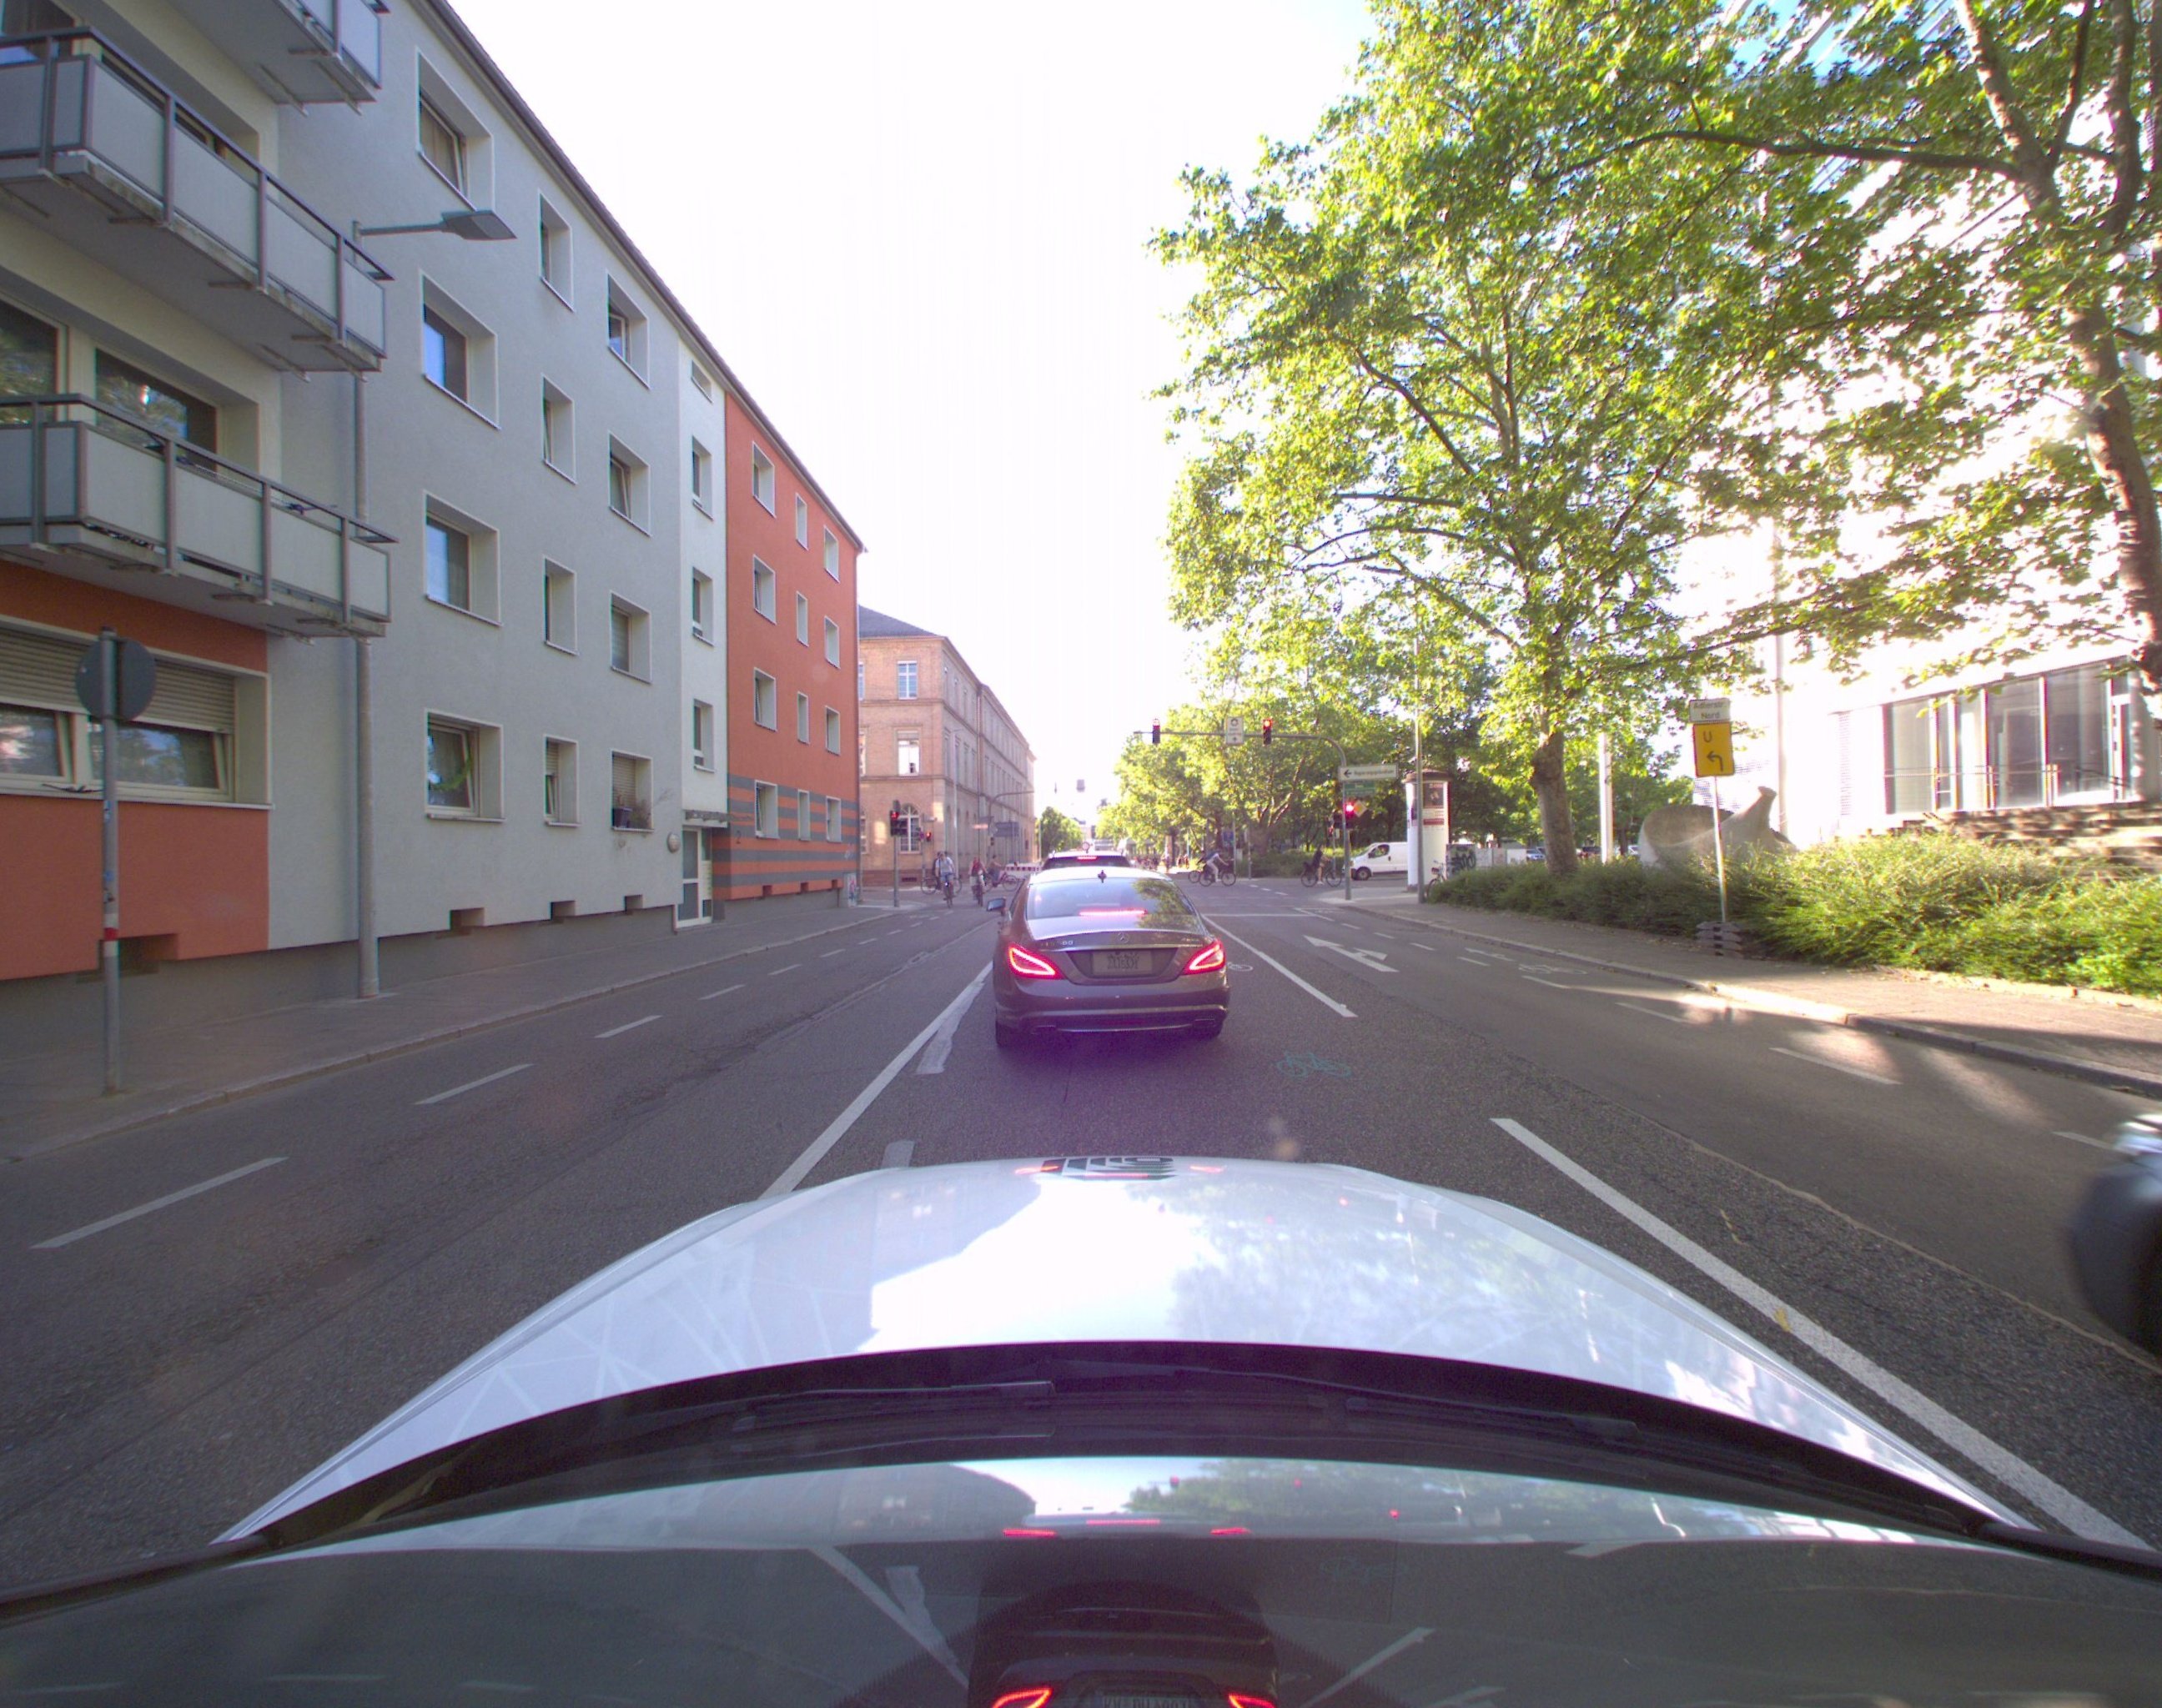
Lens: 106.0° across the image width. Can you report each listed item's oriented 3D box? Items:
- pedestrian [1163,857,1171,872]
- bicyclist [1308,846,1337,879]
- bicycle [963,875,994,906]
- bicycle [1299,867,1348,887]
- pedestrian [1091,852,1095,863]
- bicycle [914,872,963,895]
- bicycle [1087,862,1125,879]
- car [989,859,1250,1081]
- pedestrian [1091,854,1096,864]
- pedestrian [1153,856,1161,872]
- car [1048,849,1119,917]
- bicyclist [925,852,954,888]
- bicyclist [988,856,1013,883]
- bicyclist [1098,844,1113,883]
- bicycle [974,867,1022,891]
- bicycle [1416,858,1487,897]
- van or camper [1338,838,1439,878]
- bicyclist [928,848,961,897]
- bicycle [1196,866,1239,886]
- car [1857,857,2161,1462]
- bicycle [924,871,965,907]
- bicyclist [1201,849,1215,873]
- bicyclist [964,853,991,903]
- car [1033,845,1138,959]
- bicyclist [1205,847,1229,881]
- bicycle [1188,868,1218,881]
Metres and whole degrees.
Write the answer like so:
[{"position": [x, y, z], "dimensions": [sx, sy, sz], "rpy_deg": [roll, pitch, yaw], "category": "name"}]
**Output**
[{"position": [8.203, 1.022, 77.600], "dimensions": [0.646, 1.433, 0.659], "rpy_deg": [-1, 0, 1], "category": "pedestrian"}, {"position": [10.628, 0.372, 35.852], "dimensions": [1.098, 1.403, 0.658], "rpy_deg": [-1, 0, 4], "category": "bicyclist"}, {"position": [-3.378, 1.187, 26.981], "dimensions": [0.690, 0.929, 1.865], "rpy_deg": [-1, 0, 3], "category": "bicycle"}, {"position": [10.662, 0.996, 35.846], "dimensions": [1.965, 0.836, 0.677], "rpy_deg": [-1, 0, 4], "category": "bicycle"}, {"position": [2.040, 0.645, 138.991], "dimensions": [0.718, 1.902, 0.704], "rpy_deg": [-1, 0, 1], "category": "pedestrian"}, {"position": [-6.120, 1.259, 35.029], "dimensions": [1.979, 0.903, 0.734], "rpy_deg": [-1, 0, 1], "category": "bicycle"}, {"position": [1.285, 0.857, 42.144], "dimensions": [1.889, 0.837, 0.457], "rpy_deg": [-1, 0, -6], "category": "bicycle"}, {"position": [0.088, 0.805, 7.790], "dimensions": [1.801, 1.456, 4.342], "rpy_deg": [-1, 0, -5], "category": "car"}, {"position": [2.076, 0.808, 132.095], "dimensions": [0.799, 1.576, 0.845], "rpy_deg": [-1, 0, 1], "category": "pedestrian"}, {"position": [7.264, 0.982, 77.951], "dimensions": [0.646, 1.503, 0.637], "rpy_deg": [-1, 0, 1], "category": "pedestrian"}, {"position": [0.127, 0.763, 23.380], "dimensions": [1.813, 1.762, 4.002], "rpy_deg": [-1, 0, 2], "category": "car"}, {"position": [-6.083, 0.690, 35.057], "dimensions": [1.113, 1.490, 0.712], "rpy_deg": [-1, 0, 1], "category": "bicyclist"}, {"position": [-3.574, 0.673, 35.989], "dimensions": [0.987, 1.154, 0.621], "rpy_deg": [-1, 0, 4], "category": "bicyclist"}, {"position": [1.267, 0.497, 42.137], "dimensions": [0.651, 2.013, 0.439], "rpy_deg": [-1, 0, -6], "category": "bicyclist"}, {"position": [-3.656, 1.102, 36.002], "dimensions": [1.971, 1.027, 0.652], "rpy_deg": [-1, 0, 4], "category": "bicycle"}, {"position": [10.706, 0.668, 23.551], "dimensions": [1.796, 1.097, 0.510], "rpy_deg": [-1, 0, 4], "category": "bicycle"}, {"position": [15.766, 0.220, 42.015], "dimensions": [4.553, 1.941, 2.005], "rpy_deg": [-1, 0, 8], "category": "van or camper"}, {"position": [-4.471, 0.605, 26.715], "dimensions": [0.838, 1.555, 0.841], "rpy_deg": [-1, 0, 7], "category": "bicyclist"}, {"position": [6.266, 1.005, 37.503], "dimensions": [1.884, 0.882, 0.726], "rpy_deg": [-1, 0, 5], "category": "bicycle"}, {"position": [3.536, 0.755, 0.436], "dimensions": [1.906, 1.464, 4.671], "rpy_deg": [1, 0, 2], "category": "car"}, {"position": [-4.457, 1.121, 26.735], "dimensions": [0.859, 1.079, 1.839], "rpy_deg": [-1, 0, 5], "category": "bicycle"}, {"position": [6.803, 0.379, 43.695], "dimensions": [0.700, 1.260, 0.458], "rpy_deg": [-1, 0, 6], "category": "bicyclist"}, {"position": [-3.406, 0.776, 26.852], "dimensions": [0.682, 1.578, 0.983], "rpy_deg": [-1, 0, 3], "category": "bicyclist"}, {"position": [0.061, 0.707, 13.864], "dimensions": [1.513, 1.647, 3.879], "rpy_deg": [-1, 0, 0], "category": "car"}, {"position": [6.256, 0.450, 37.501], "dimensions": [1.069, 1.519, 0.718], "rpy_deg": [-1, 0, 6], "category": "bicyclist"}, {"position": [6.524, 1.092, 43.674], "dimensions": [1.579, 0.635, 0.496], "rpy_deg": [-1, 0, 5], "category": "bicycle"}]
